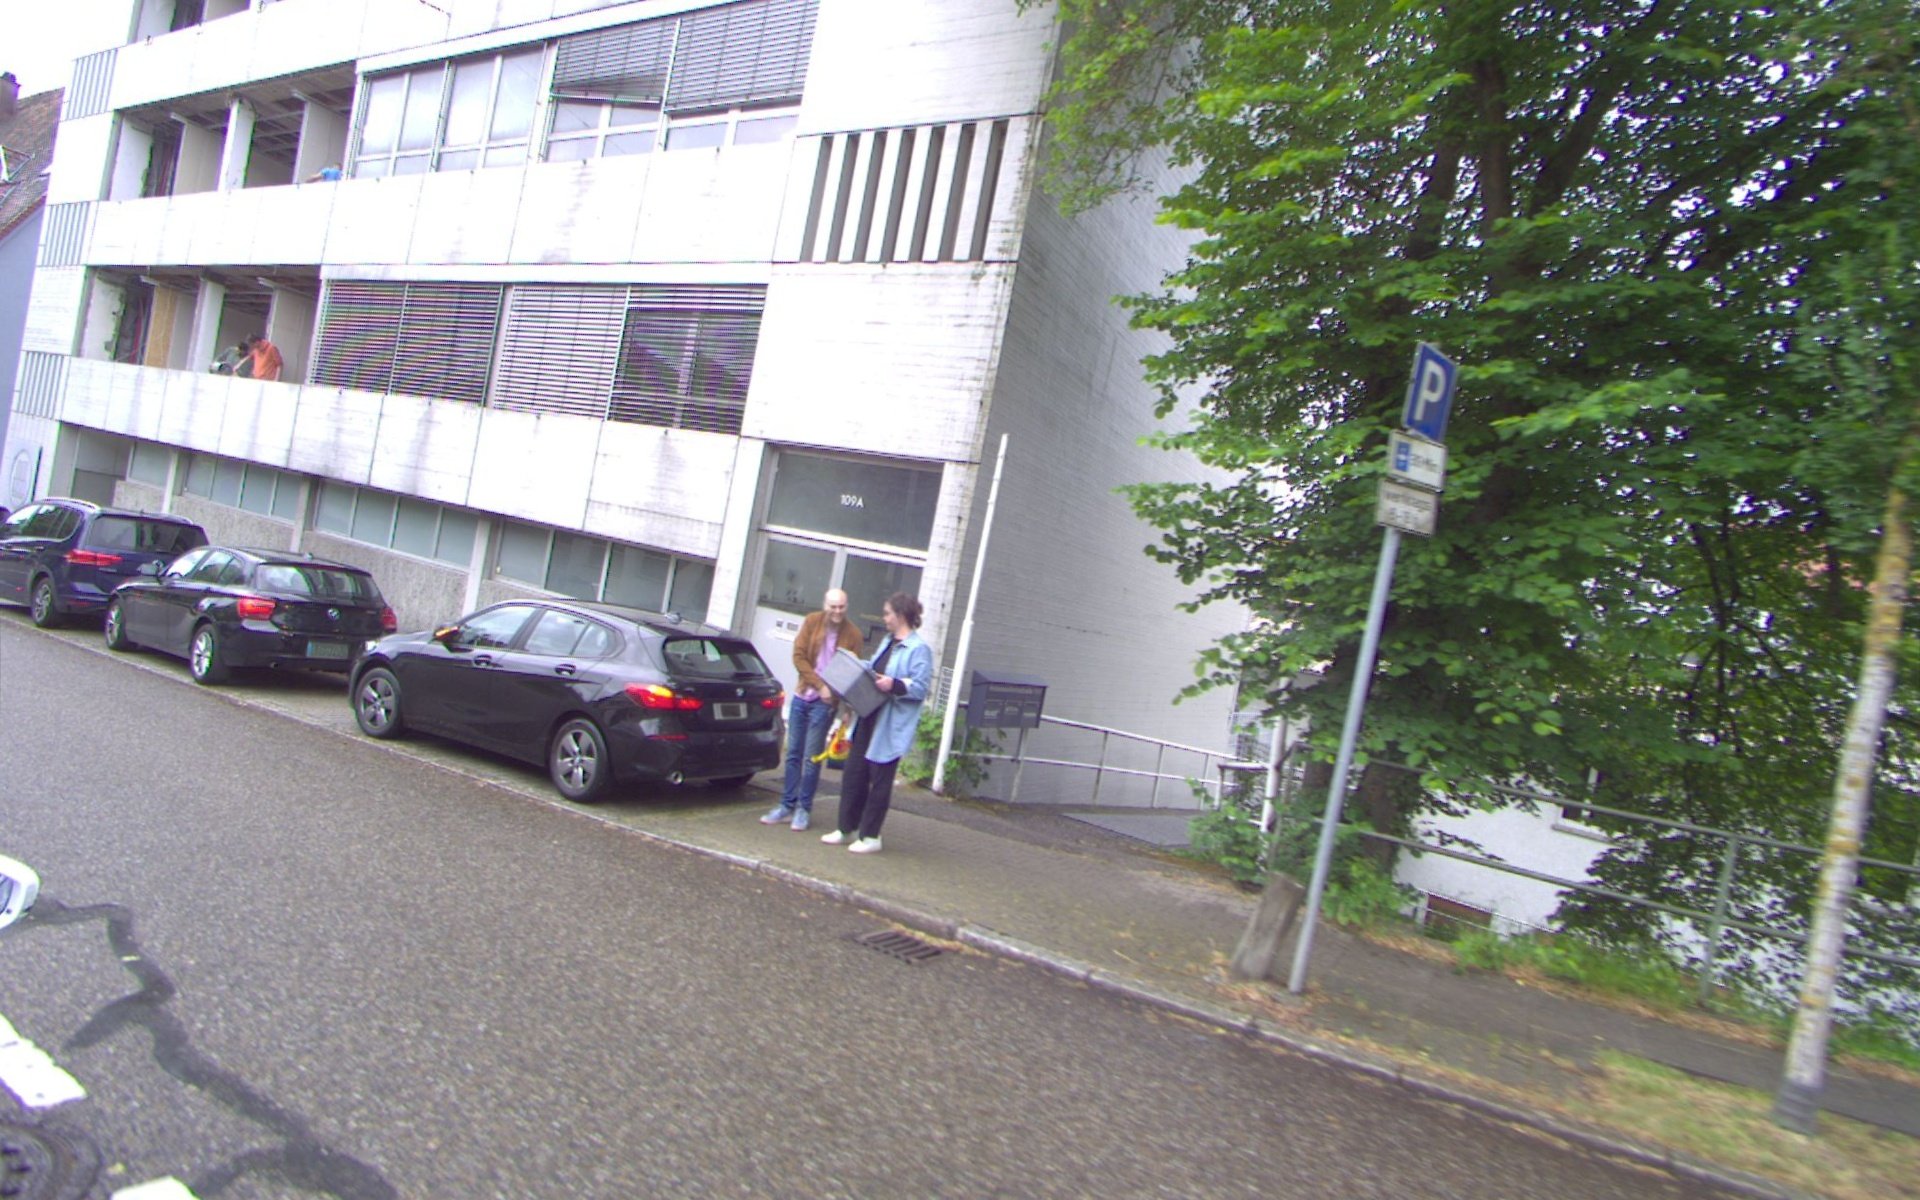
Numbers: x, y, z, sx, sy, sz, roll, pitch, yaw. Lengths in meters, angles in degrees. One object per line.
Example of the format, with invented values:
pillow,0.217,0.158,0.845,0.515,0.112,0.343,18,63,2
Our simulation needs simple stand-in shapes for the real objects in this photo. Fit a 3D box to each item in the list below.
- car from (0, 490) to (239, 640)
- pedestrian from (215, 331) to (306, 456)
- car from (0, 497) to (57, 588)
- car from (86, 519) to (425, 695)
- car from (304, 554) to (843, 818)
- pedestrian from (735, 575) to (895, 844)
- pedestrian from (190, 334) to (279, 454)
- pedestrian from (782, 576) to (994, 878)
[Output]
car,-12.095,-0.544,13.960,4.090,1.618,1.732,7,-1,30
pedestrian,-12.935,-3.790,18.610,0.846,2.037,0.909,6,-1,31
car,-18.376,-1.266,17.966,4.449,1.465,1.966,7,-1,30
car,-8.221,0.043,11.631,4.183,1.466,1.750,7,-1,34
car,-3.459,0.641,8.868,4.367,1.451,1.999,7,-2,30
pedestrian,-1.062,0.805,7.680,0.809,1.802,1.074,8,-2,1
pedestrian,-13.868,-3.908,19.237,0.846,2.037,0.909,6,-1,31
pedestrian,-0.510,0.834,6.799,1.057,1.801,0.822,9,-2,-15
